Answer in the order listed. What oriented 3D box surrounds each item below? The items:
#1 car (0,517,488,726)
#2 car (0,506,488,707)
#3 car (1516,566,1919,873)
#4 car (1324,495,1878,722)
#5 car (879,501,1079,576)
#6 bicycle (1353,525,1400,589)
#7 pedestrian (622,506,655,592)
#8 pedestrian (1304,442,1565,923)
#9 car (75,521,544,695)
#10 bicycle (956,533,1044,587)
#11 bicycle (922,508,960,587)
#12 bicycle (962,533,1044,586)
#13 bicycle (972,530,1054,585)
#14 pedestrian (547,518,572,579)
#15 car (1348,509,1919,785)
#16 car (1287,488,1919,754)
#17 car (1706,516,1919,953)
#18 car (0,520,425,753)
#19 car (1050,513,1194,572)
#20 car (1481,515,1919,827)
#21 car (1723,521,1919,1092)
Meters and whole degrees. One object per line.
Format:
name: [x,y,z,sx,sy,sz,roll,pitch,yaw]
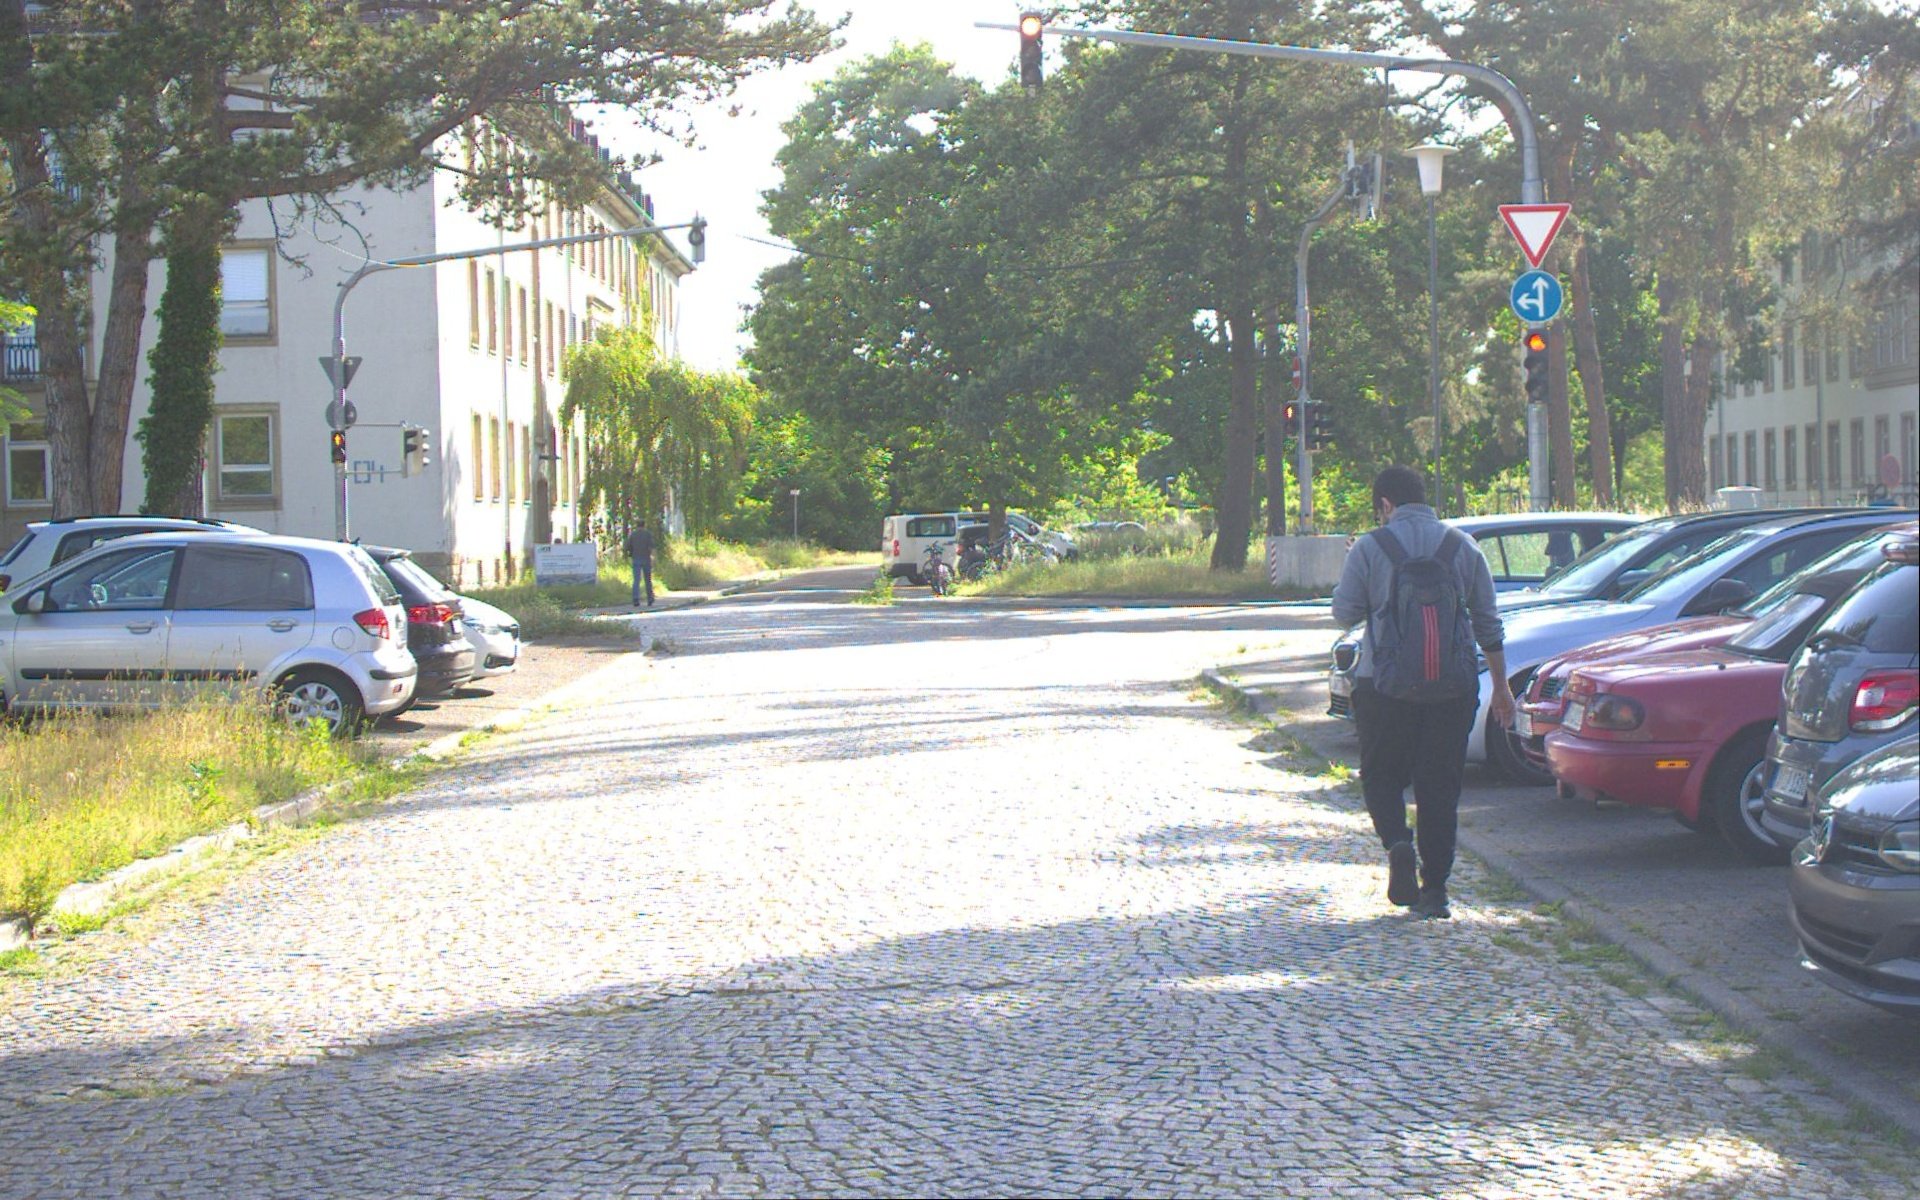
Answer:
car: [-5.801,0.143,26.985,3.937,1.440,1.691,2,1,-1]
car: [-6.132,0.037,29.695,3.879,1.610,1.661,1,1,-1]
car: [4.308,0.483,15.142,3.460,1.238,1.536,-1,1,1]
car: [4.619,0.042,25.122,3.673,1.438,1.665,-3,1,0]
car: [0.490,-1.654,91.985,5.065,1.911,2.001,-1,1,-9]
bicycle: [7.534,-0.789,62.152,0.722,1.111,2.583,-1,1,9]
pedestrian: [-6.571,-1.040,70.275,0.607,1.746,0.630,-1,1,-1]
pedestrian: [1.780,0.294,13.008,0.753,1.719,0.828,4,1,-1]
car: [-6.066,0.050,32.319,3.987,1.491,1.772,1,2,5]
bicycle: [0.858,-0.864,74.079,1.834,1.108,0.495,-1,1,-3]
bicycle: [-0.399,-1.093,70.722,0.753,1.575,2.537,-1,1,-1]
bicycle: [0.923,-0.877,74.623,1.727,1.108,0.484,-1,1,-3]
bicycle: [1.155,-0.932,75.303,1.727,1.160,0.561,-1,1,-3]
pedestrian: [-10.272,-1.317,88.118,0.606,1.554,0.545,-1,1,-7]
car: [4.571,0.213,19.768,4.399,1.384,1.789,-2,1,-1]
car: [4.618,0.094,22.683,4.619,1.450,1.870,-3,1,-2]
car: [4.766,0.370,12.544,3.663,1.450,1.667,-3,1,0]
car: [-5.747,0.226,24.322,3.685,1.522,1.699,1,1,-2]
car: [4.502,-1.613,95.880,3.743,1.574,1.742,-1,1,-7]
car: [4.795,0.296,17.526,3.979,1.443,1.656,-2,1,0]
car: [4.244,0.451,9.673,3.781,1.445,1.758,-2,1,2]
